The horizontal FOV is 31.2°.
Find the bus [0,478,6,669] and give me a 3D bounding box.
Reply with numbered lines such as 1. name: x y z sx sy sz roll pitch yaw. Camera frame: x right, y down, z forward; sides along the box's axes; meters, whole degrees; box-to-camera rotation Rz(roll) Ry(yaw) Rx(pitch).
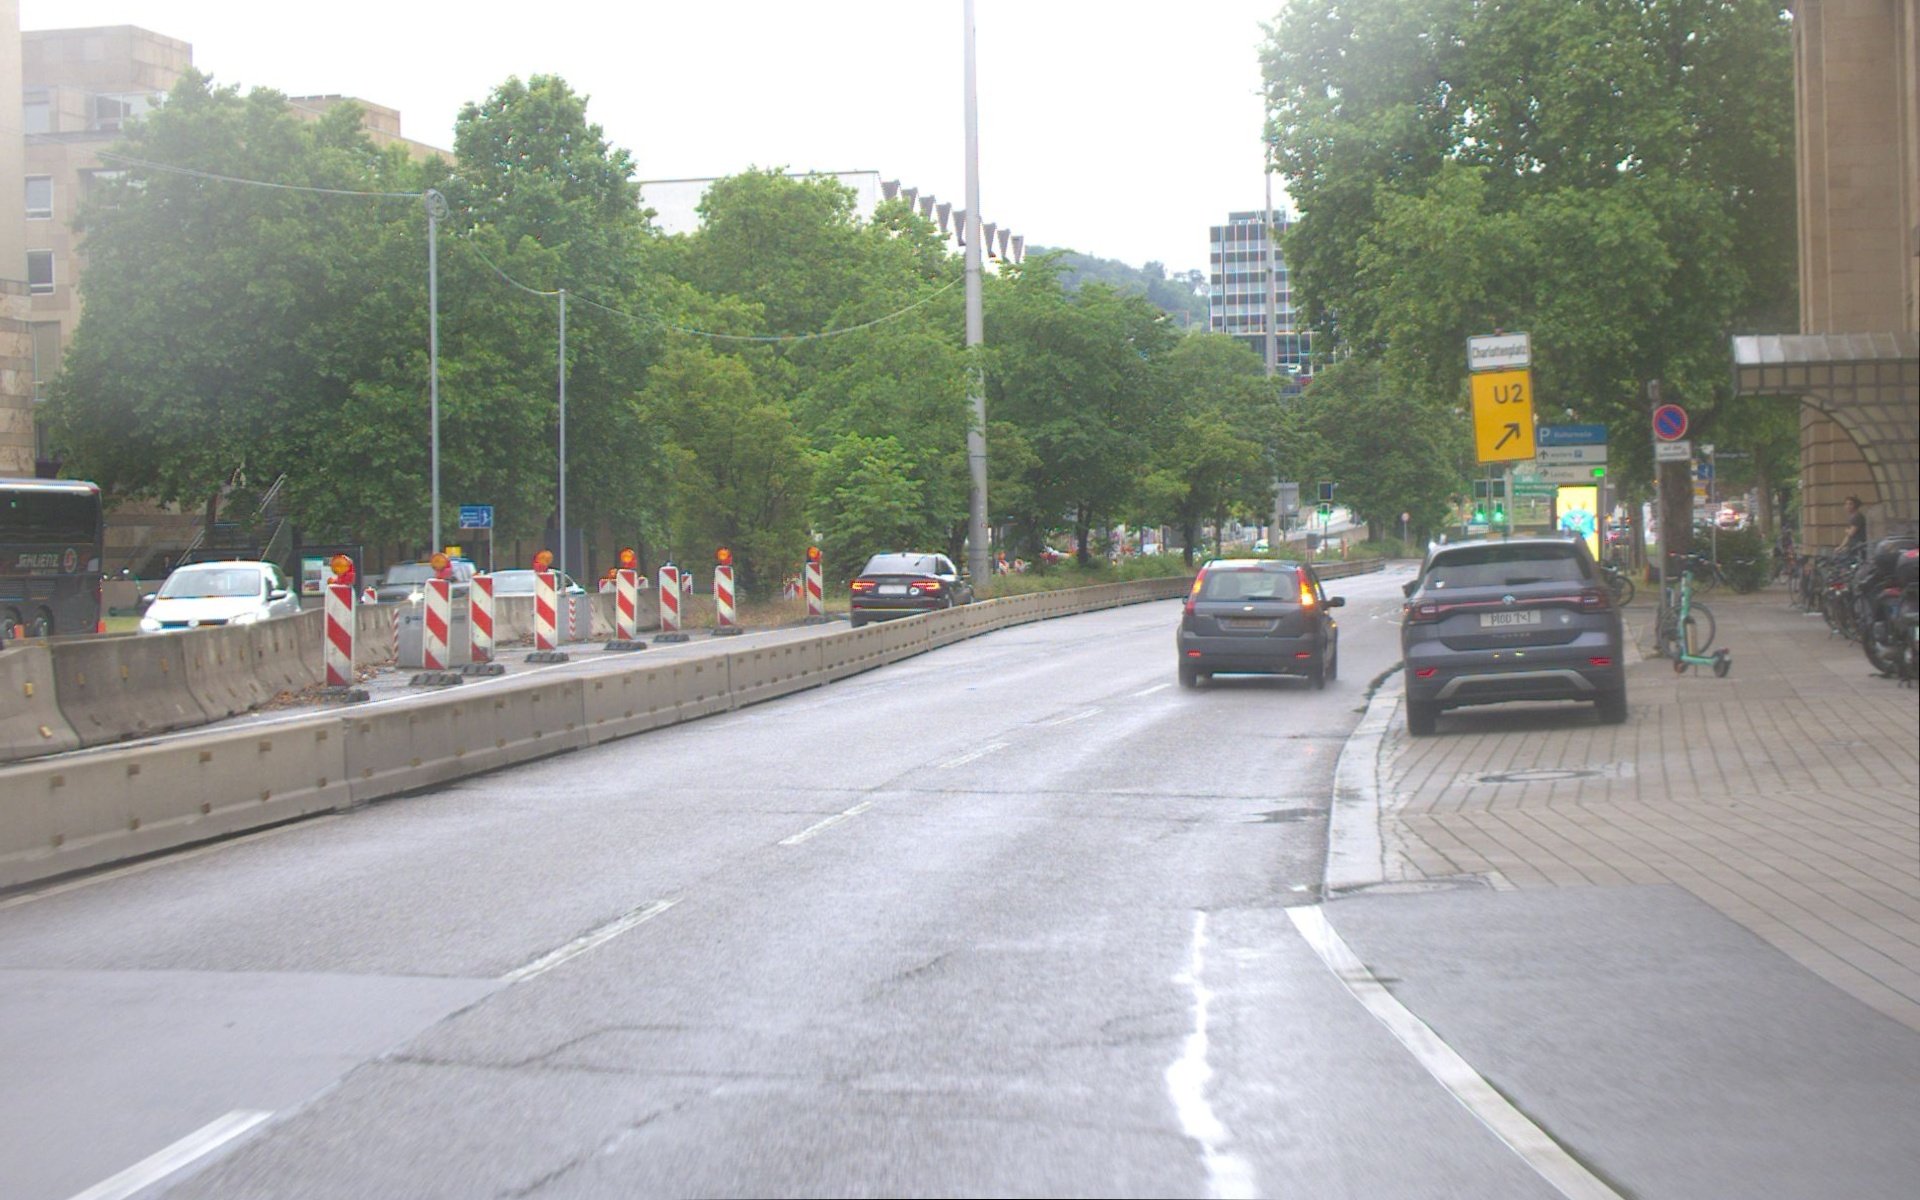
1. bus: -24.313 -0.485 70.056 3.121 4.237 13.486 1 1 14

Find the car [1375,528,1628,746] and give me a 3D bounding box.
1. car: 4.531 0.245 28.525 1.872 1.613 4.403 -2 1 10

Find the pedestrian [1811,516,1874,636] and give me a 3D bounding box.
1. pedestrian: 13.506 -0.369 52.632 0.795 1.771 0.642 -4 0 11

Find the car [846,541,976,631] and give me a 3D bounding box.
1. car: -0.856 -0.258 62.690 1.755 1.447 3.999 -5 0 7

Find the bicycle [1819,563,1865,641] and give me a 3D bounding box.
1. bicycle: 11.862 0.017 46.248 0.584 1.034 1.758 0 0 14

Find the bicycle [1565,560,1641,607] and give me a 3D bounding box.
1. bicycle: 13.822 -0.354 73.923 1.590 0.991 0.524 0 1 13

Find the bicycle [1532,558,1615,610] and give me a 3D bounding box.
1. bicycle: 12.862 -0.336 72.027 1.680 1.086 0.650 0 1 13

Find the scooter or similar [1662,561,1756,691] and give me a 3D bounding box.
1. scooter or similar: 7.539 0.253 34.636 0.433 1.288 1.258 0 0 -13

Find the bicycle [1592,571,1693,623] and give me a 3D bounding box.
1. bicycle: 13.955 -0.066 70.300 1.985 1.056 0.759 0 1 8

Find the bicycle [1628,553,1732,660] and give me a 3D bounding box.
1. bicycle: 8.552 0.065 40.912 0.775 1.214 1.965 -2 0 0

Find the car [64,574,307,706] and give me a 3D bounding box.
1. car: -9.835 0.472 43.949 1.994 1.525 4.000 -1 1 3

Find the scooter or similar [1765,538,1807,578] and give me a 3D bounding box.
1. scooter or similar: 25.902 -1.313 107.780 0.541 1.251 1.438 -2 1 -20

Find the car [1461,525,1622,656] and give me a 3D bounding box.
1. car: 8.276 -0.143 48.670 1.995 1.775 4.186 0 0 13

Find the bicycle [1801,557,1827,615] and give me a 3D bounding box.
1. bicycle: 16.158 -0.273 65.060 0.352 1.076 1.788 0 1 10

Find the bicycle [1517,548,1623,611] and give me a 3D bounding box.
1. bicycle: 13.001 -0.432 73.317 2.192 1.332 0.650 0 1 13

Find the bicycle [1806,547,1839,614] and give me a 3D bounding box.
1. bicycle: 16.494 -0.383 65.745 0.453 1.246 1.599 1 1 9

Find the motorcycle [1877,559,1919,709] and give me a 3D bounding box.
1. motorcycle: 8.529 0.283 30.379 0.807 1.294 1.798 0 0 14

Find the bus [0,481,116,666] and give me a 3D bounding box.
1. bus: -21.646 -0.513 68.495 2.806 3.798 14.588 1 1 14

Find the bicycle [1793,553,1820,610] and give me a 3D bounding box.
1. bicycle: 16.413 -0.358 66.658 0.352 1.076 1.788 -2 0 10

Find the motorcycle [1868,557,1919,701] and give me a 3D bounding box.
1. motorcycle: 8.968 0.256 32.602 0.667 1.321 2.133 0 0 14

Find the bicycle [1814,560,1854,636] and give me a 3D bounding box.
1. bicycle: 14.098 -0.038 55.474 0.464 1.211 1.691 0 0 9

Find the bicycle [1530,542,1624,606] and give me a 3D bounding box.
1. bicycle: 13.056 -0.547 72.748 1.907 1.328 0.650 0 1 13

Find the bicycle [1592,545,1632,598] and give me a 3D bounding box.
1. bicycle: 14.986 -0.655 79.017 0.605 1.193 1.903 -2 0 18

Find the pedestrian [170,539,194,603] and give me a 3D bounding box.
1. pedestrian: -24.584 -0.918 108.631 0.478 2.007 0.511 -2 0 11

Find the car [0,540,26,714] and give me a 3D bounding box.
1. car: -9.466 0.288 28.445 1.920 1.525 4.760 -1 1 3

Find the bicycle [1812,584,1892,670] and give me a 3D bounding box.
1. bicycle: 11.262 0.332 43.448 0.712 1.048 1.740 0 0 6

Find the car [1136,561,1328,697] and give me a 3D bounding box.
1. car: 3.070 0.329 39.493 1.844 1.411 3.839 -2 0 0

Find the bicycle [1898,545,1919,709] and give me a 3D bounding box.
1. bicycle: 8.289 0.213 27.775 1.102 1.312 1.858 0 0 7

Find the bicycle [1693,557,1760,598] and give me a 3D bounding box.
1. bicycle: 19.979 -0.592 89.631 1.642 1.017 0.574 2 1 16
